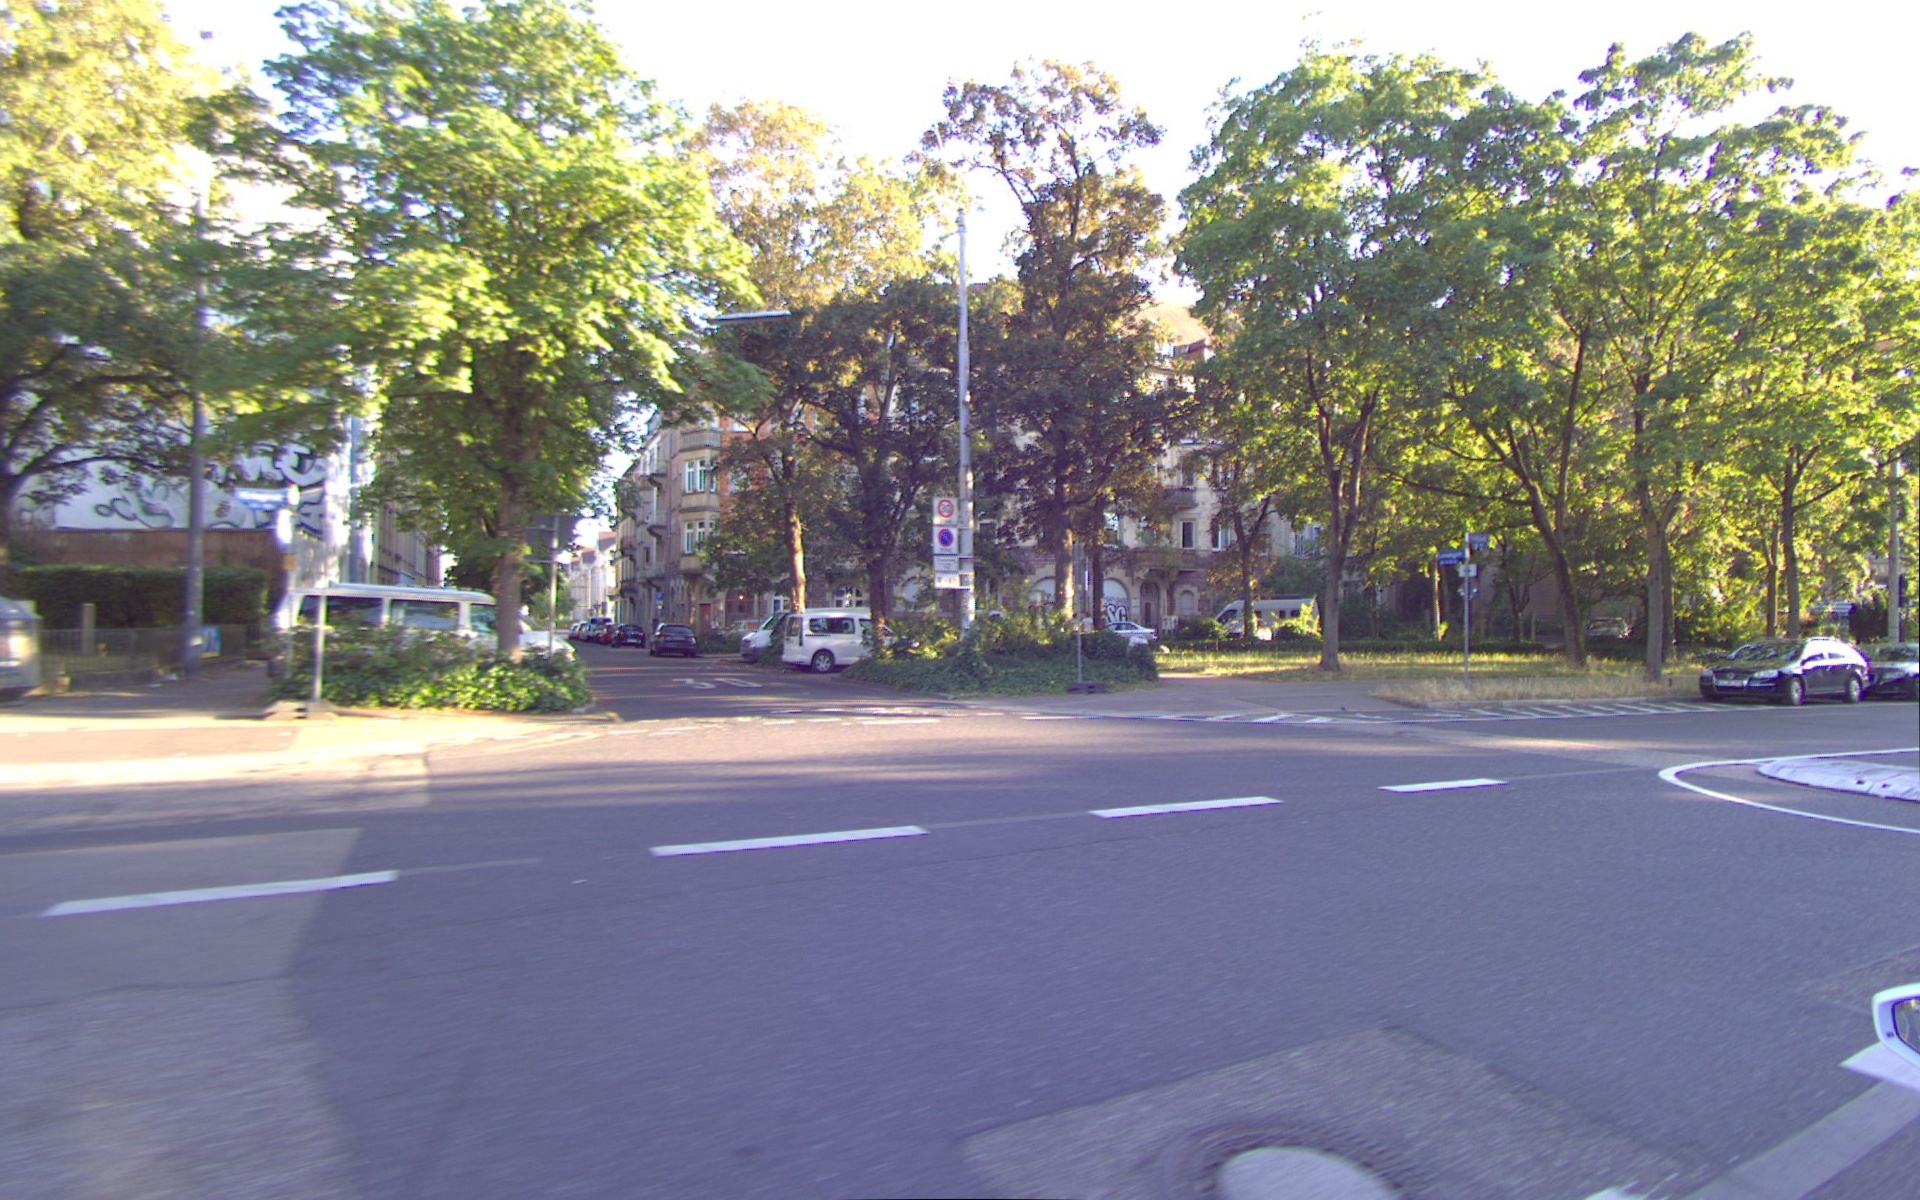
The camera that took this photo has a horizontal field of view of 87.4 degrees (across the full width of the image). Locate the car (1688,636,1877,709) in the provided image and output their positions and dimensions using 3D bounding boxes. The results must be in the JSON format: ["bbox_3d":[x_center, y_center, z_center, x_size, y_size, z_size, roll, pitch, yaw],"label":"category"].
[{"bbox_3d":[18.850,1.592,22.994,4.483,1.526,1.618,1,-1,-26],"label":"car"}]

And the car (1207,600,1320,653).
[{"bbox_3d":[15.077,1.293,50.170,5.128,2.518,2.275,0,-1,8],"label":"car"}]

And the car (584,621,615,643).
[{"bbox_3d":[-27.999,2.453,78.015,1.972,1.619,4.715,1,-2,-23],"label":"car"}]

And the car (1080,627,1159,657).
[{"bbox_3d":[8.108,2.120,51.297,3.919,1.416,1.896,0,-1,8],"label":"car"}]

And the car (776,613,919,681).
[{"bbox_3d":[-3.473,1.420,31.108,3.953,1.907,1.984,1,1,-30],"label":"car"}]

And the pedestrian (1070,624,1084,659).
[{"bbox_3d":[4.697,1.669,40.437,0.547,1.414,0.458,0,-1,4],"label":"pedestrian"}]

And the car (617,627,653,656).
[{"bbox_3d":[-19.709,2.482,60.833,1.969,1.619,4.722,1,-1,-19],"label":"car"}]

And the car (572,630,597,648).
[{"bbox_3d":[-35.301,3.649,94.348,1.972,1.619,4.715,1,-2,-23],"label":"car"}]

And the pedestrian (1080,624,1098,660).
[{"bbox_3d":[5.101,1.656,39.775,0.553,1.414,0.454,1,-1,-33],"label":"pedestrian"}]

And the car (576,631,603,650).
[{"bbox_3d":[-32.912,3.556,89.188,1.972,1.619,4.715,1,-2,-23],"label":"car"}]

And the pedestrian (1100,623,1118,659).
[{"bbox_3d":[5.909,1.620,39.794,0.553,1.414,0.454,1,-1,-33],"label":"pedestrian"}]

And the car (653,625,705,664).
[{"bbox_3d":[-12.632,1.948,44.979,1.969,1.619,4.722,1,-1,-19],"label":"car"}]

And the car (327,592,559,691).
[{"bbox_3d":[-12.939,1.016,25.555,5.026,2.319,2.210,1,0,-24],"label":"car"}]

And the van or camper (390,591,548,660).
[{"bbox_3d":[-19.017,0.982,39.067,5.358,2.504,2.058,1,0,-28],"label":"van or camper"}]

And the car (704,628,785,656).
[{"bbox_3d":[-11.768,2.286,55.055,3.919,1.416,1.896,0,-1,8],"label":"car"}]

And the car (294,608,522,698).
[{"bbox_3d":[-11.337,1.034,20.812,3.953,1.684,1.984,1,0,-30],"label":"car"}]

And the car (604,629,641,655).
[{"bbox_3d":[-22.611,2.785,67.185,1.972,1.619,4.715,1,-2,-23],"label":"car"}]

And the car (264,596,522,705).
[{"bbox_3d":[-10.321,0.870,18.521,3.953,1.819,1.810,1,0,-30],"label":"car"}]

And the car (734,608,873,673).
[{"bbox_3d":[-5.755,1.455,37.031,4.684,2.218,1.985,1,1,-29],"label":"car"}]

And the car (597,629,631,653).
[{"bbox_3d":[-24.897,2.926,72.137,1.972,1.619,4.715,1,-2,-23],"label":"car"}]

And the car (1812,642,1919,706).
[{"bbox_3d":[23.471,1.804,25.245,4.187,1.448,1.623,1,-2,-27],"label":"car"}]
